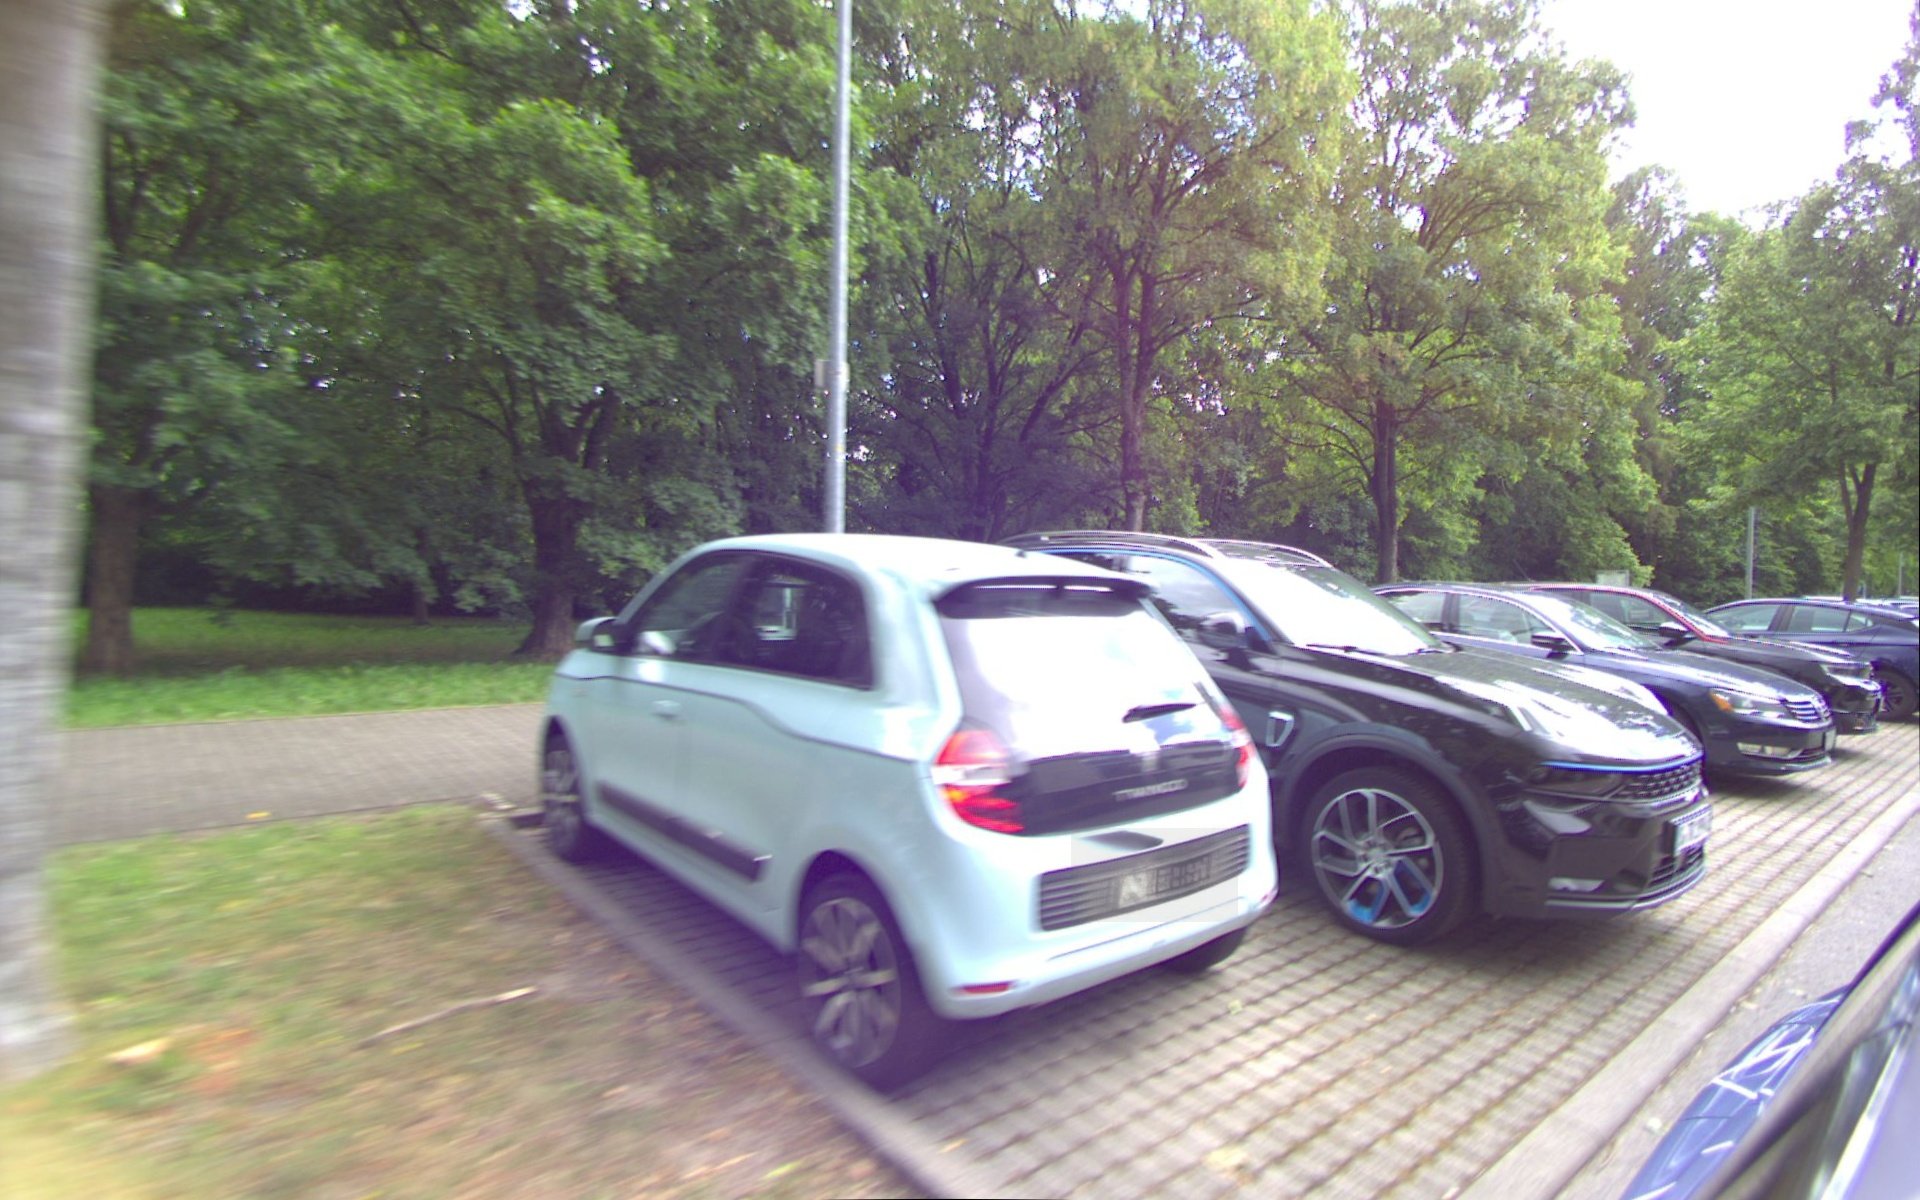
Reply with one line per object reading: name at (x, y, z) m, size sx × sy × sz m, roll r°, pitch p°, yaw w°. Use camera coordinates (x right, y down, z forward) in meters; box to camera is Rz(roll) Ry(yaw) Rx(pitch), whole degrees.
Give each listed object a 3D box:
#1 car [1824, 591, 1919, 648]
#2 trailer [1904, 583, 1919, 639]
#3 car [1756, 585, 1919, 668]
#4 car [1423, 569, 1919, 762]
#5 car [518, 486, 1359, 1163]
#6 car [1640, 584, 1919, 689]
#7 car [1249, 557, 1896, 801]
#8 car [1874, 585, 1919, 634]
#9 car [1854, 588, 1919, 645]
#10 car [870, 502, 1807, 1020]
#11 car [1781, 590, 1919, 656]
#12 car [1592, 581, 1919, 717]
car at (26.902, 0.578, 28.296) m, size 4.011 × 1.439 × 1.763 m, roll 5°, pitch 3°, yaw 45°
trailer at (32.919, 0.427, 32.950) m, size 1.537 × 1.812 × 3.034 m, roll 0°, pitch 3°, yaw -43°
car at (19.406, 0.554, 21.237) m, size 1.846 × 1.534 × 3.853 m, roll 0°, pitch 3°, yaw -37°
car at (7.475, 0.523, 10.946) m, size 1.820 × 1.535 × 4.078 m, roll 0°, pitch 3°, yaw -44°
car at (-0.404, 0.441, 4.245) m, size 1.764 × 1.593 × 3.388 m, roll 1°, pitch 3°, yaw -40°
car at (14.866, 0.575, 17.771) m, size 1.814 × 1.472 × 4.496 m, roll 0°, pitch 3°, yaw -40°
car at (5.224, 0.470, 9.285) m, size 1.946 × 1.536 × 4.650 m, roll 1°, pitch 3°, yaw -38°
car at (36.463, 0.457, 36.516) m, size 1.937 × 1.714 × 4.834 m, roll 0°, pitch 3°, yaw -37°
car at (28.983, 0.554, 29.558) m, size 1.829 × 1.566 × 4.119 m, roll 0°, pitch 3°, yaw -43°
car at (1.635, 0.410, 5.659) m, size 2.045 × 1.696 × 4.426 m, roll 1°, pitch 3°, yaw -40°
car at (23.101, 0.585, 25.037) m, size 1.785 × 1.439 × 4.062 m, roll 0°, pitch 3°, yaw -41°
car at (11.321, 0.580, 13.894) m, size 1.818 × 1.474 × 4.083 m, roll 0°, pitch 3°, yaw -39°
